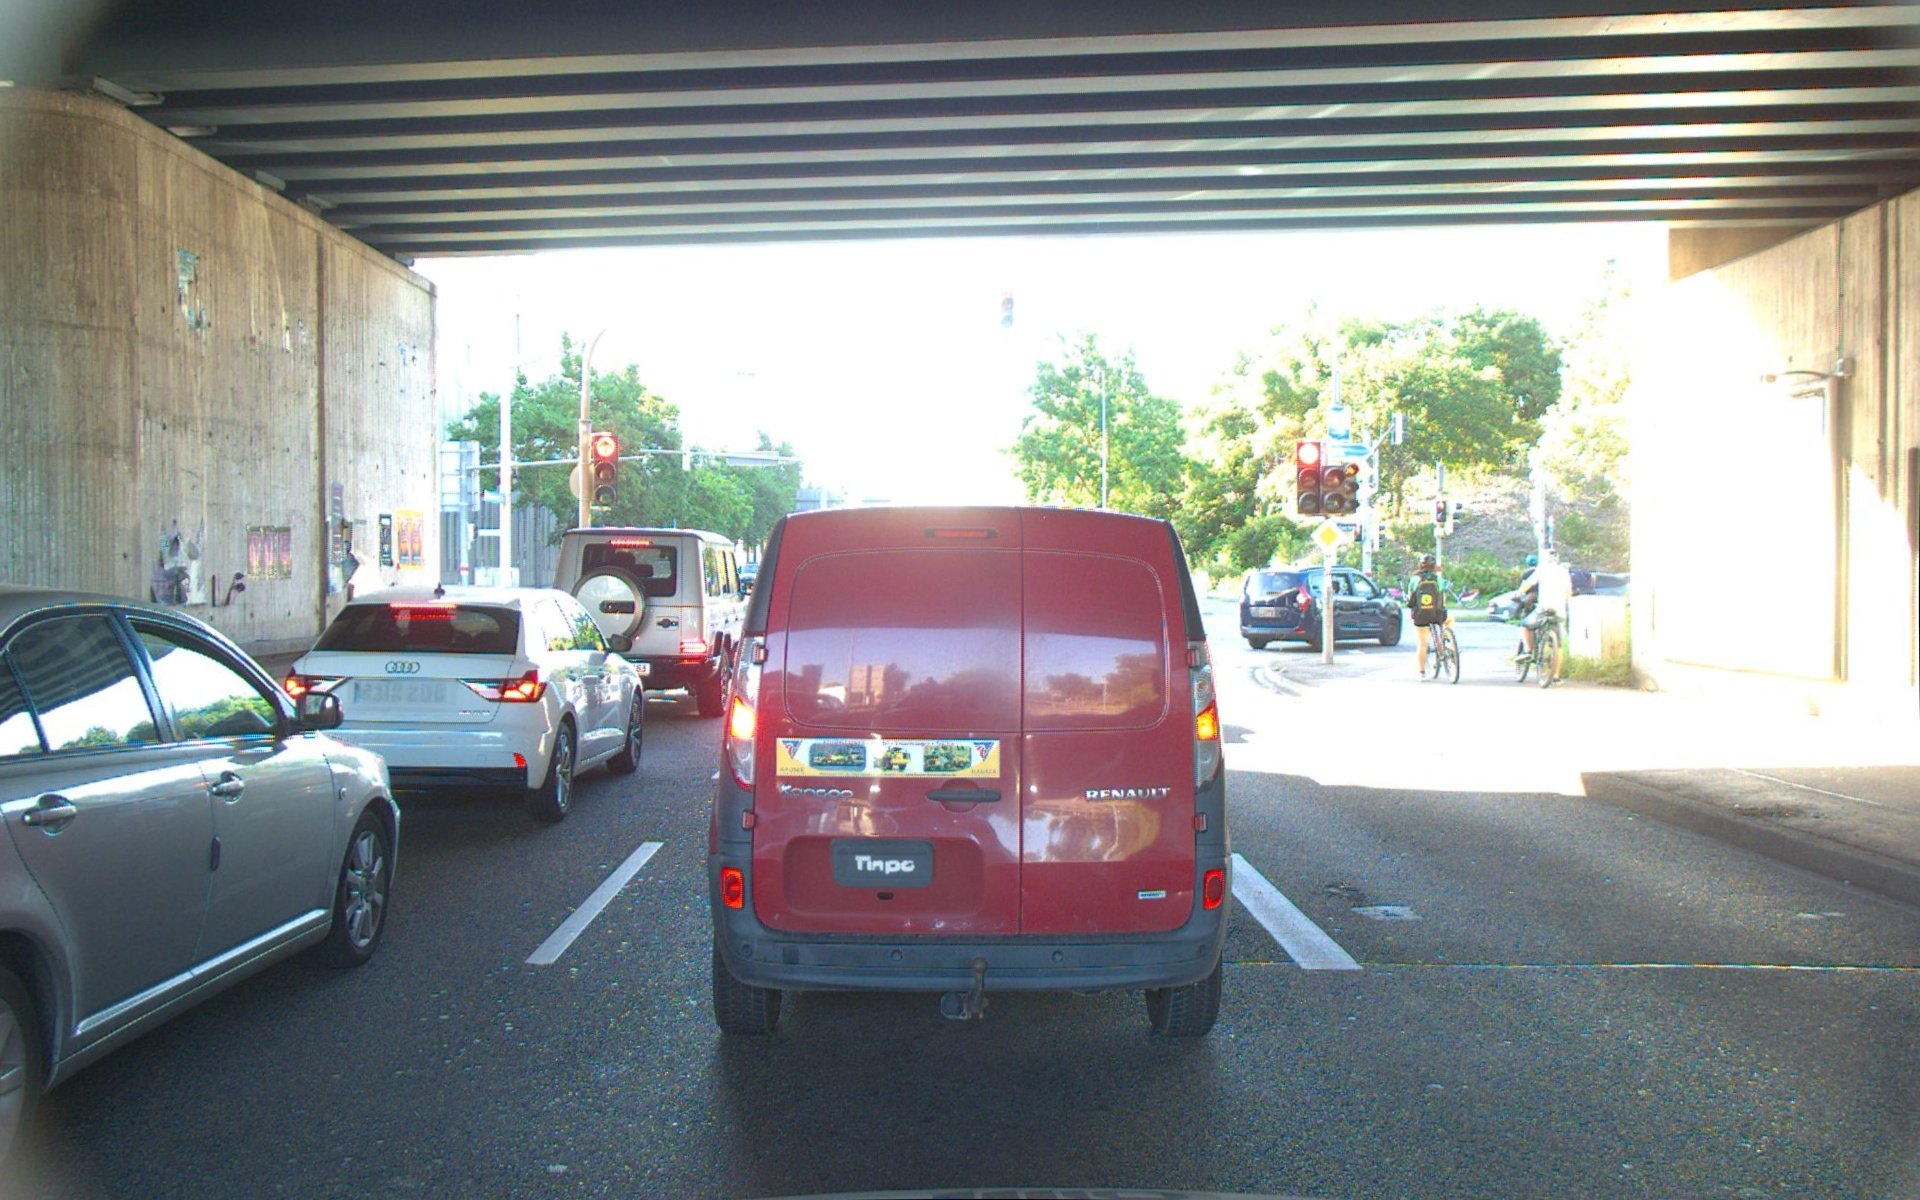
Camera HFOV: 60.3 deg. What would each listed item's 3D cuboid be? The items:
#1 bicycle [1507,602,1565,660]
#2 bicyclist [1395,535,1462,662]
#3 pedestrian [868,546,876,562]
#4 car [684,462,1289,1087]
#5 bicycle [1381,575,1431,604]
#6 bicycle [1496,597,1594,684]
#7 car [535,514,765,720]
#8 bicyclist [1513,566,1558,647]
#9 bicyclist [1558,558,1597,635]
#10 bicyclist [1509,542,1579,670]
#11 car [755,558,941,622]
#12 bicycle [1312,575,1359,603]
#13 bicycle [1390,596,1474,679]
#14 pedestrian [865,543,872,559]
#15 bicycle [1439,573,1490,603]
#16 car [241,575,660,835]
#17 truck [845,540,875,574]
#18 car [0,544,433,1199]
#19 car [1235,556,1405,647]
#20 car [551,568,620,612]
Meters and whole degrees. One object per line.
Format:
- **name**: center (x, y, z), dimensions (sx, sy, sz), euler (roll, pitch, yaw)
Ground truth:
- **bicycle**: center (10.825, 0.578, 31.153), dimensions (0.657, 1.041, 2.057), euler (1, 0, 9)
- **bicyclist**: center (6.198, -0.021, 21.916), dimensions (0.580, 1.642, 0.942), euler (1, 0, -1)
- **pedestrian**: center (-11.675, -6.115, 219.022), dimensions (0.921, 2.049, 0.694), euler (1, -1, 3)
- **car**: center (0.056, 0.528, 6.908), dimensions (1.768, 1.826, 3.999), euler (1, 0, -1)
- **bicycle**: center (16.473, -0.381, 61.163), dimensions (1.707, 1.041, 0.594), euler (1, 0, 8)
- **bicycle**: center (7.325, 0.490, 20.778), dimensions (0.579, 1.041, 1.750), euler (1, 0, -1)
- **car**: center (-3.358, 0.178, 18.778), dimensions (1.764, 2.023, 4.588), euler (1, 0, -1)
- **bicyclist**: center (10.844, 0.121, 31.194), dimensions (0.651, 1.500, 0.751), euler (1, -1, 8)
- **bicyclist**: center (12.146, -0.075, 32.535), dimensions (0.635, 1.506, 0.619), euler (1, 1, 14)
- **bicyclist**: center (7.340, 0.077, 20.799), dimensions (0.580, 1.575, 0.769), euler (1, -1, -1)
- **car**: center (-2.881, -0.243, 42.930), dimensions (4.501, 1.540, 1.809), euler (1, 0, -31)
- **bicycle**: center (14.206, -0.414, 62.592), dimensions (1.707, 1.041, 0.594), euler (1, 0, 8)
- **bicycle**: center (6.207, 0.475, 21.841), dimensions (0.579, 1.041, 1.750), euler (1, 0, -1)
- **pedestrian**: center (-11.510, -6.157, 208.199), dimensions (0.724, 2.049, 0.638), euler (1, -1, 3)
- **bicycle**: center (18.356, -0.433, 60.209), dimensions (1.707, 1.041, 0.594), euler (1, 0, 10)
- **car**: center (-3.257, 0.577, 11.340), dimensions (1.777, 1.463, 3.730), euler (1, 1, -1)
- **truck**: center (-9.553, -4.125, 158.448), dimensions (2.360, 3.079, 6.657), euler (-2, 1, 0)
- **car**: center (-3.011, 0.622, 4.842), dimensions (1.698, 1.506, 4.317), euler (0, 0, -2)
- **car**: center (7.376, 0.021, 33.678), dimensions (1.694, 1.736, 3.958), euler (0, 0, 41)
- **car**: center (-16.115, -0.443, 71.376), dimensions (1.787, 1.768, 4.630), euler (-2, 1, 1)
